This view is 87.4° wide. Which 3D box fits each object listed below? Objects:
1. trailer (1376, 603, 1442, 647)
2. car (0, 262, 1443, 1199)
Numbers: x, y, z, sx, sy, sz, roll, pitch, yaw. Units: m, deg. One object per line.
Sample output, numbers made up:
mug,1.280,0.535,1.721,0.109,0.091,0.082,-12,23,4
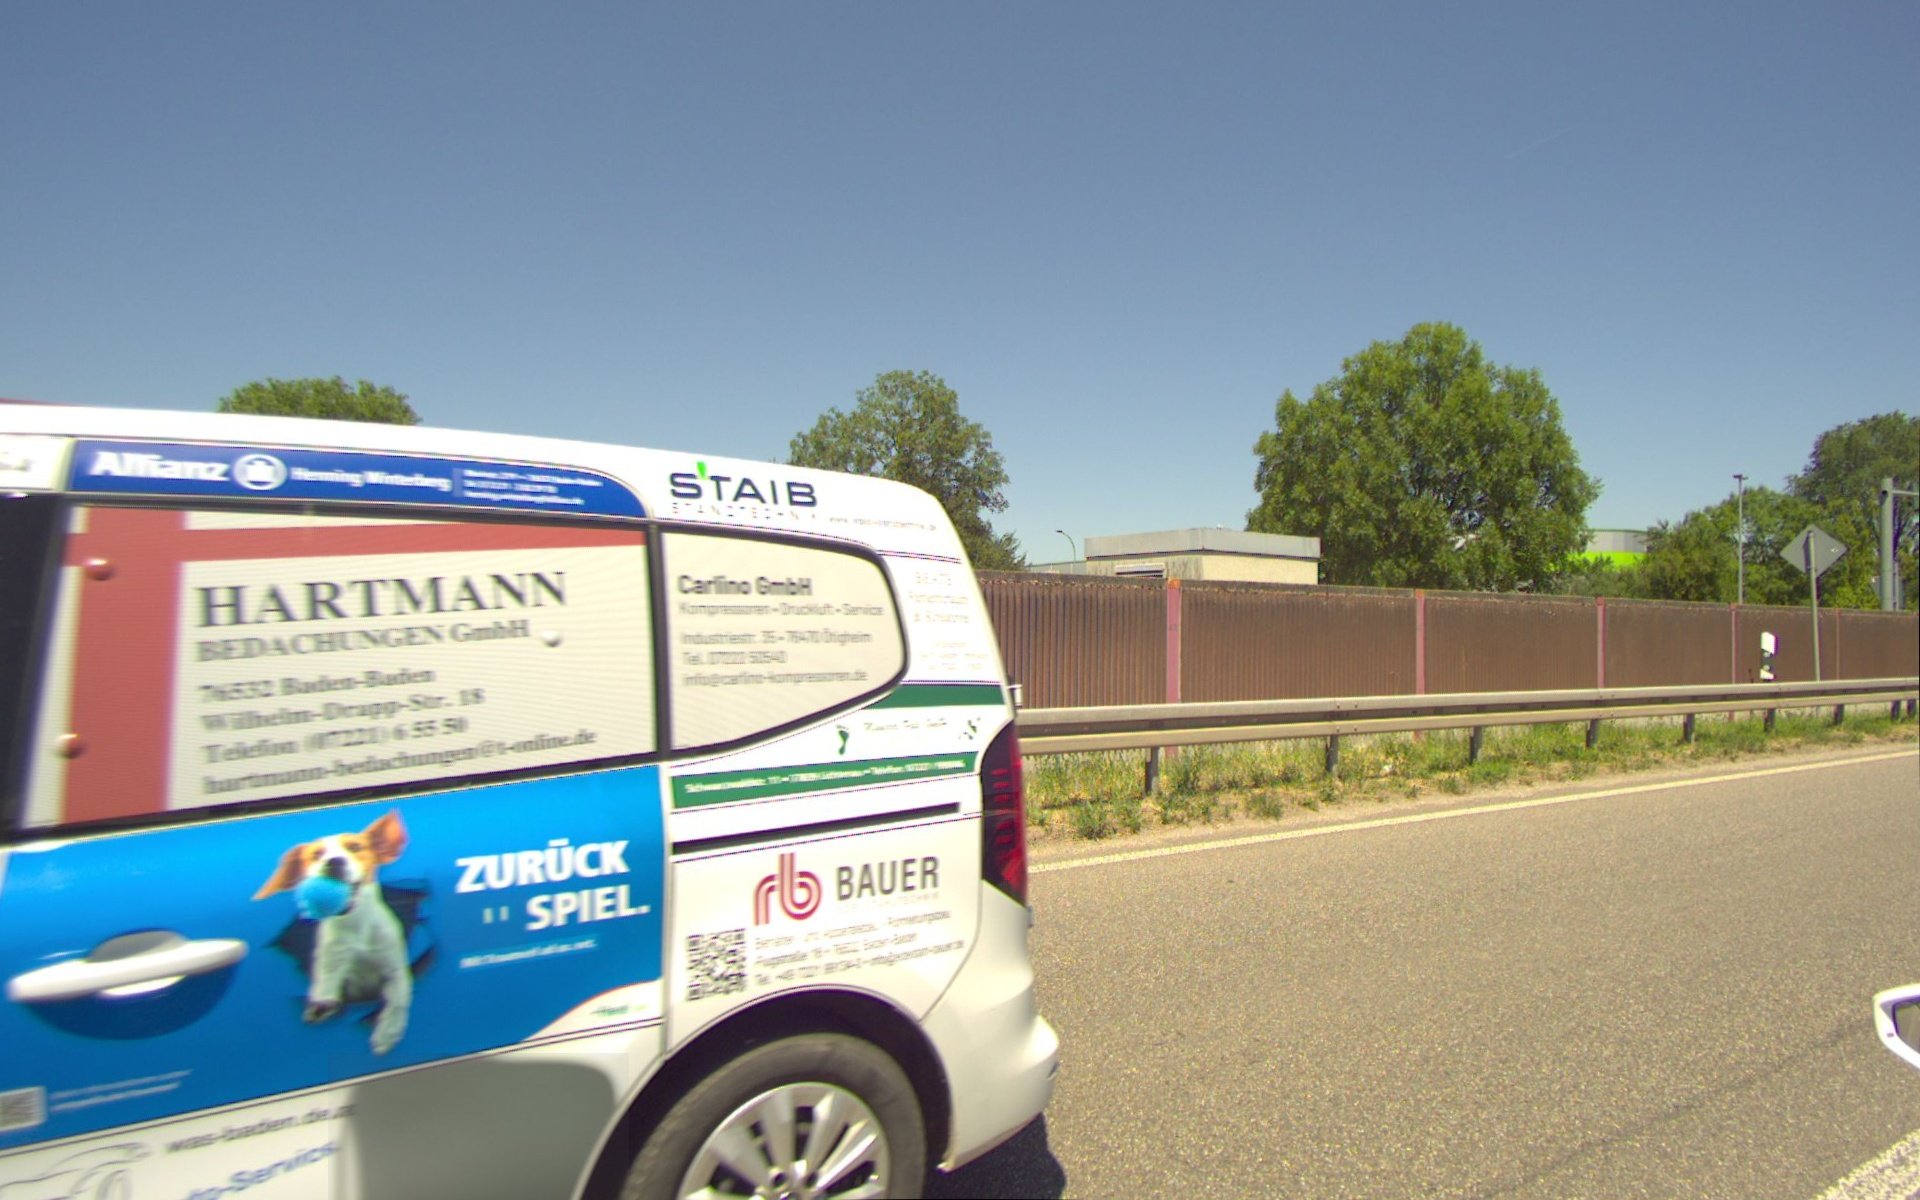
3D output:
trailer,29.596,1.611,66.324,3.682,2.801,1.827,1,-1,15
car,-1.284,0.467,2.269,4.718,1.763,1.879,1,0,-29
